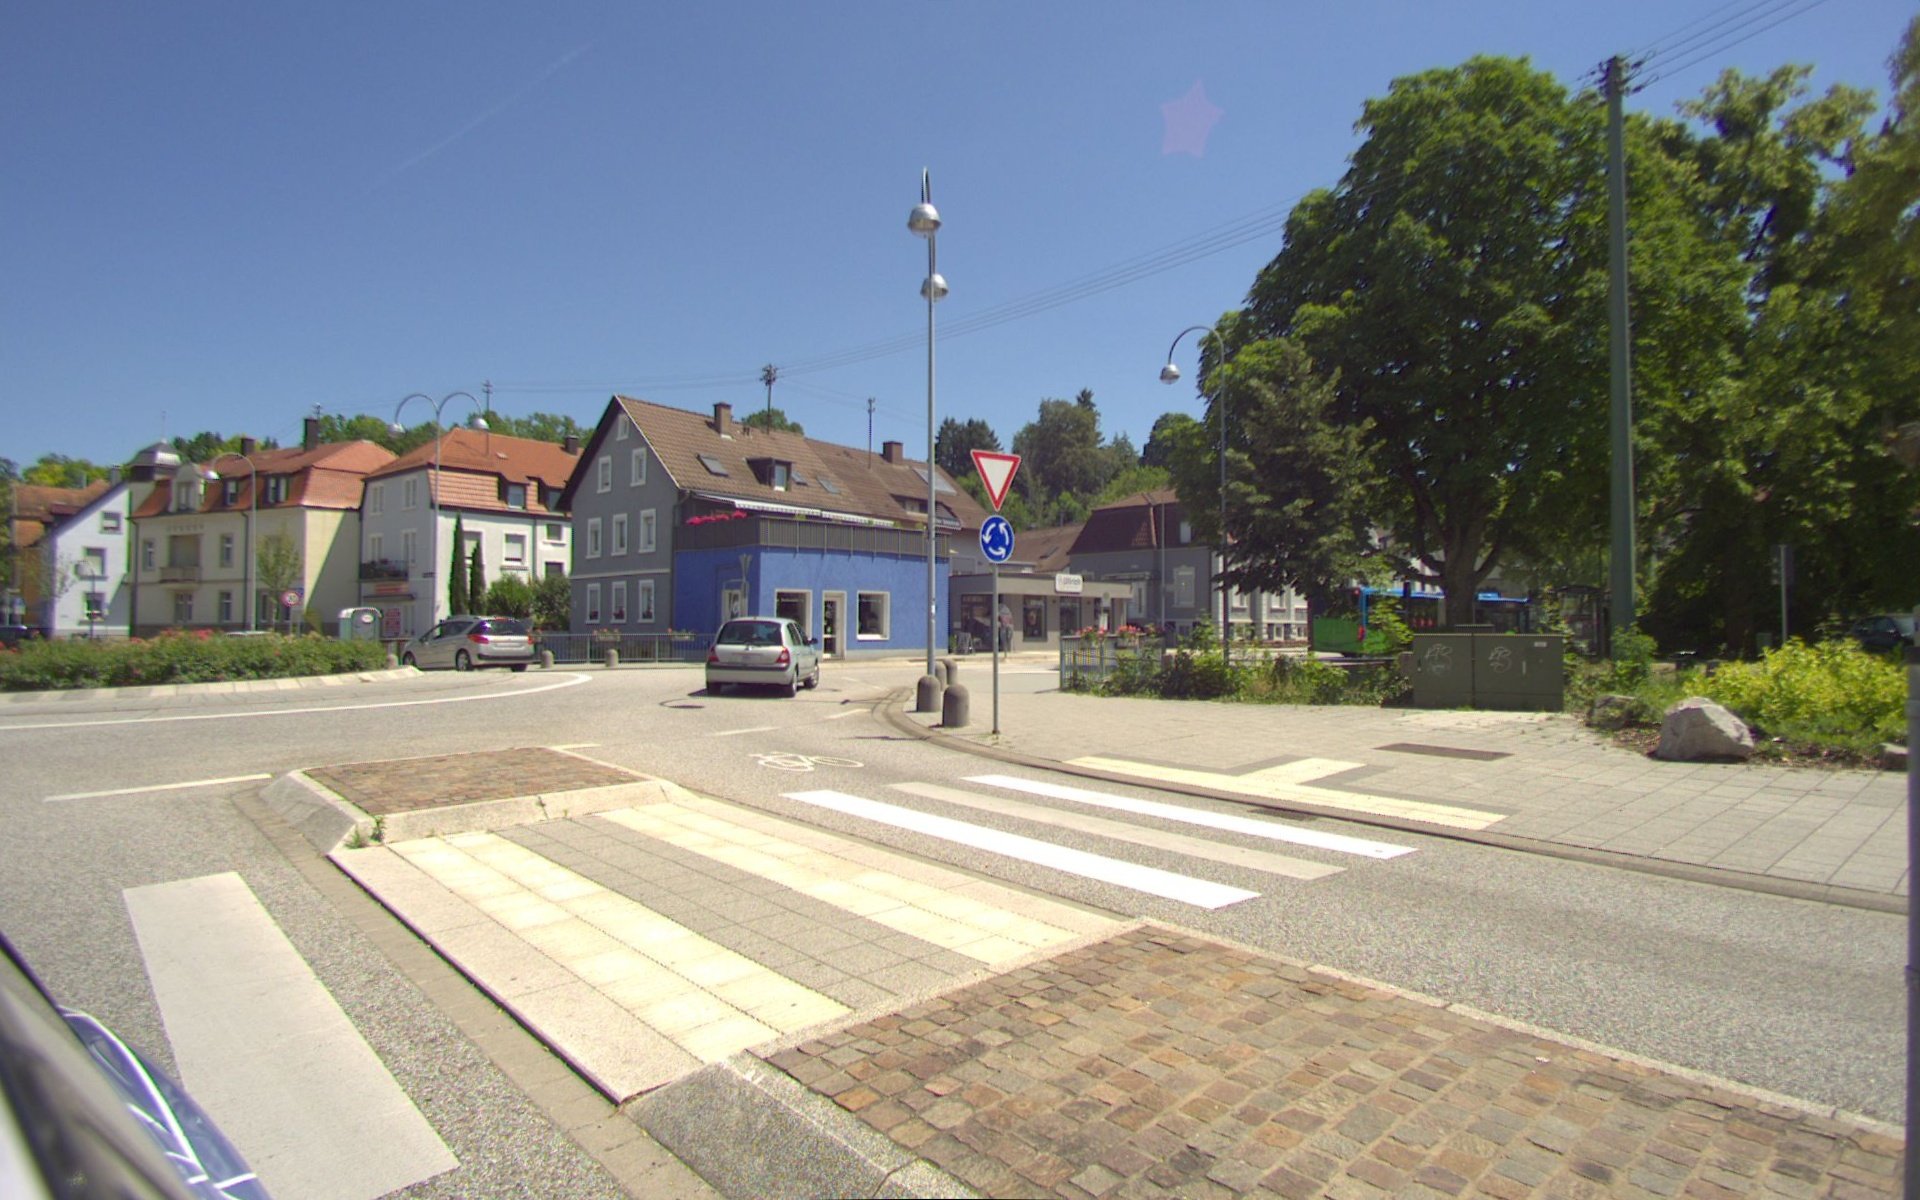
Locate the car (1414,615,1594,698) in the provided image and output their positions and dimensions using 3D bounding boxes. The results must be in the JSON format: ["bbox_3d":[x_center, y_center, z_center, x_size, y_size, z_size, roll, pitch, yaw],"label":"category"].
[{"bbox_3d":[11.103,1.124,20.691,3.051,1.564,1.615,-2,-2,35],"label":"car"}]

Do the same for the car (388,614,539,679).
[{"bbox_3d":[-13.036,1.241,26.495,4.197,1.528,1.725,-4,-3,35],"label":"car"}]

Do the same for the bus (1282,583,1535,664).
[{"bbox_3d":[21.535,1.113,47.333,17.788,3.195,3.724,2,-1,-41],"label":"bus"}]

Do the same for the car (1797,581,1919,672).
[{"bbox_3d":[22.522,0.629,24.183,1.976,2.029,3.991,-1,-2,7],"label":"car"}]

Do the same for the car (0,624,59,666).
[{"bbox_3d":[-49.667,2.341,53.091,3.972,2.029,1.986,1,-1,22],"label":"car"}]

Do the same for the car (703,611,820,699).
[{"bbox_3d":[-3.661,0.987,19.194,1.527,1.423,3.719,3,-2,-2],"label":"car"}]

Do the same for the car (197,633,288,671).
[{"bbox_3d":[-30.018,2.148,42.319,4.064,1.402,1.592,-1,1,31],"label":"car"}]
